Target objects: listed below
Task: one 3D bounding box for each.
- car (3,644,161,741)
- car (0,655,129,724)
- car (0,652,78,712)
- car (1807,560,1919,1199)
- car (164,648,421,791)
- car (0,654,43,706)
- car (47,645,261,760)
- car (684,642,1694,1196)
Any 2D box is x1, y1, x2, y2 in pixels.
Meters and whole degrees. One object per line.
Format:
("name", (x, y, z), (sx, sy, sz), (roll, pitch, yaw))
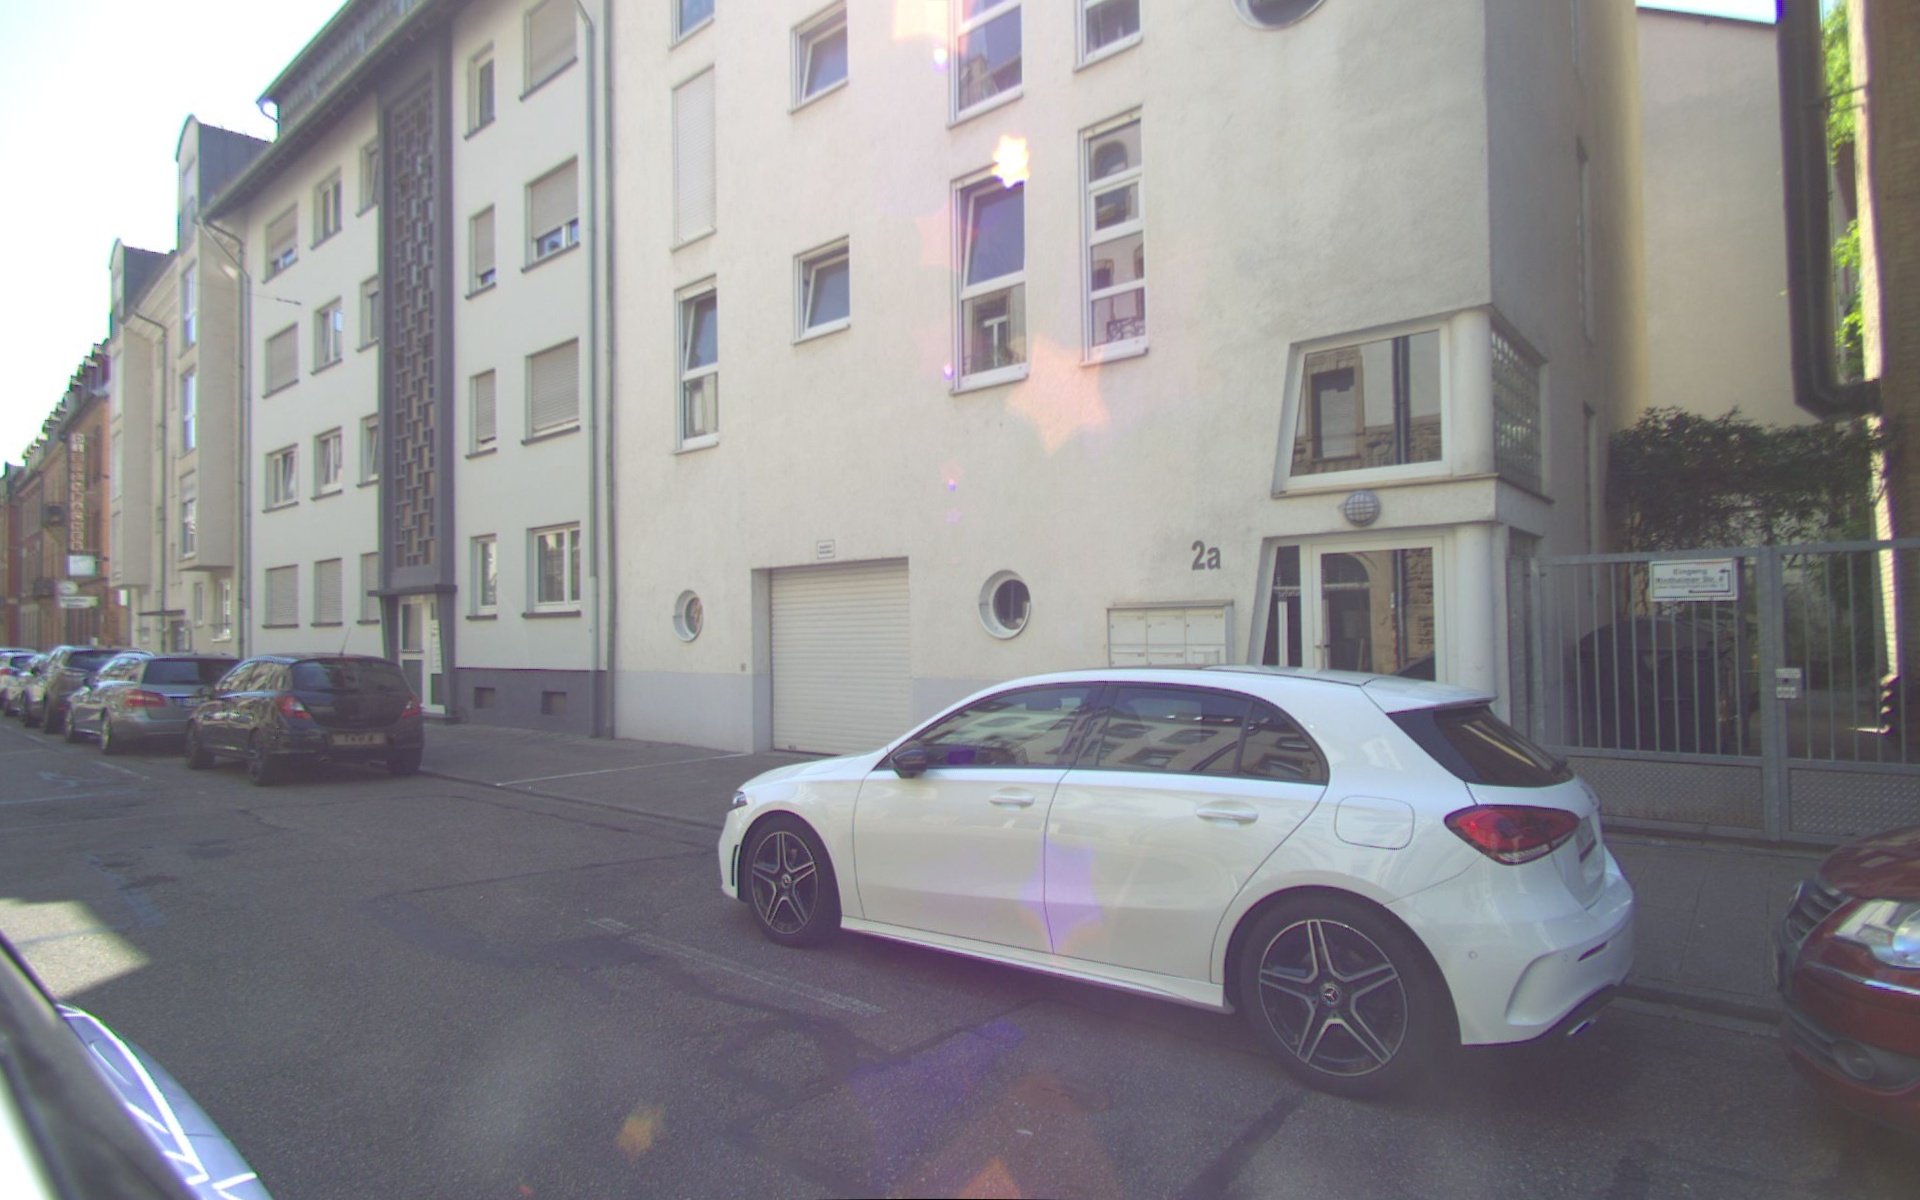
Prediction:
("car", (-16.787, 1.692, 19.298), (3.973, 1.657, 1.587), (-2, -5, 40))
("car", (-20.535, 1.970, 22.964), (4.345, 1.404, 1.747), (-2, -5, 40))
("car", (-25.598, 2.178, 27.511), (4.345, 1.506, 1.713), (-2, -5, 40))
("car", (4.288, 0.693, 1.883), (4.047, 1.595, 1.656), (-2, -5, 38))
("car", (-8.329, 1.359, 12.514), (3.890, 1.503, 1.551), (-2, -5, 40))
("car", (-30.799, 2.498, 32.215), (3.847, 1.561, 1.613), (-2, -6, 37))
("car", (-12.625, 1.490, 15.738), (4.667, 1.530, 1.639), (-2, -5, 40))
("car", (0.763, 0.959, 4.757), (4.273, 1.471, 1.759), (-2, -4, 38))
